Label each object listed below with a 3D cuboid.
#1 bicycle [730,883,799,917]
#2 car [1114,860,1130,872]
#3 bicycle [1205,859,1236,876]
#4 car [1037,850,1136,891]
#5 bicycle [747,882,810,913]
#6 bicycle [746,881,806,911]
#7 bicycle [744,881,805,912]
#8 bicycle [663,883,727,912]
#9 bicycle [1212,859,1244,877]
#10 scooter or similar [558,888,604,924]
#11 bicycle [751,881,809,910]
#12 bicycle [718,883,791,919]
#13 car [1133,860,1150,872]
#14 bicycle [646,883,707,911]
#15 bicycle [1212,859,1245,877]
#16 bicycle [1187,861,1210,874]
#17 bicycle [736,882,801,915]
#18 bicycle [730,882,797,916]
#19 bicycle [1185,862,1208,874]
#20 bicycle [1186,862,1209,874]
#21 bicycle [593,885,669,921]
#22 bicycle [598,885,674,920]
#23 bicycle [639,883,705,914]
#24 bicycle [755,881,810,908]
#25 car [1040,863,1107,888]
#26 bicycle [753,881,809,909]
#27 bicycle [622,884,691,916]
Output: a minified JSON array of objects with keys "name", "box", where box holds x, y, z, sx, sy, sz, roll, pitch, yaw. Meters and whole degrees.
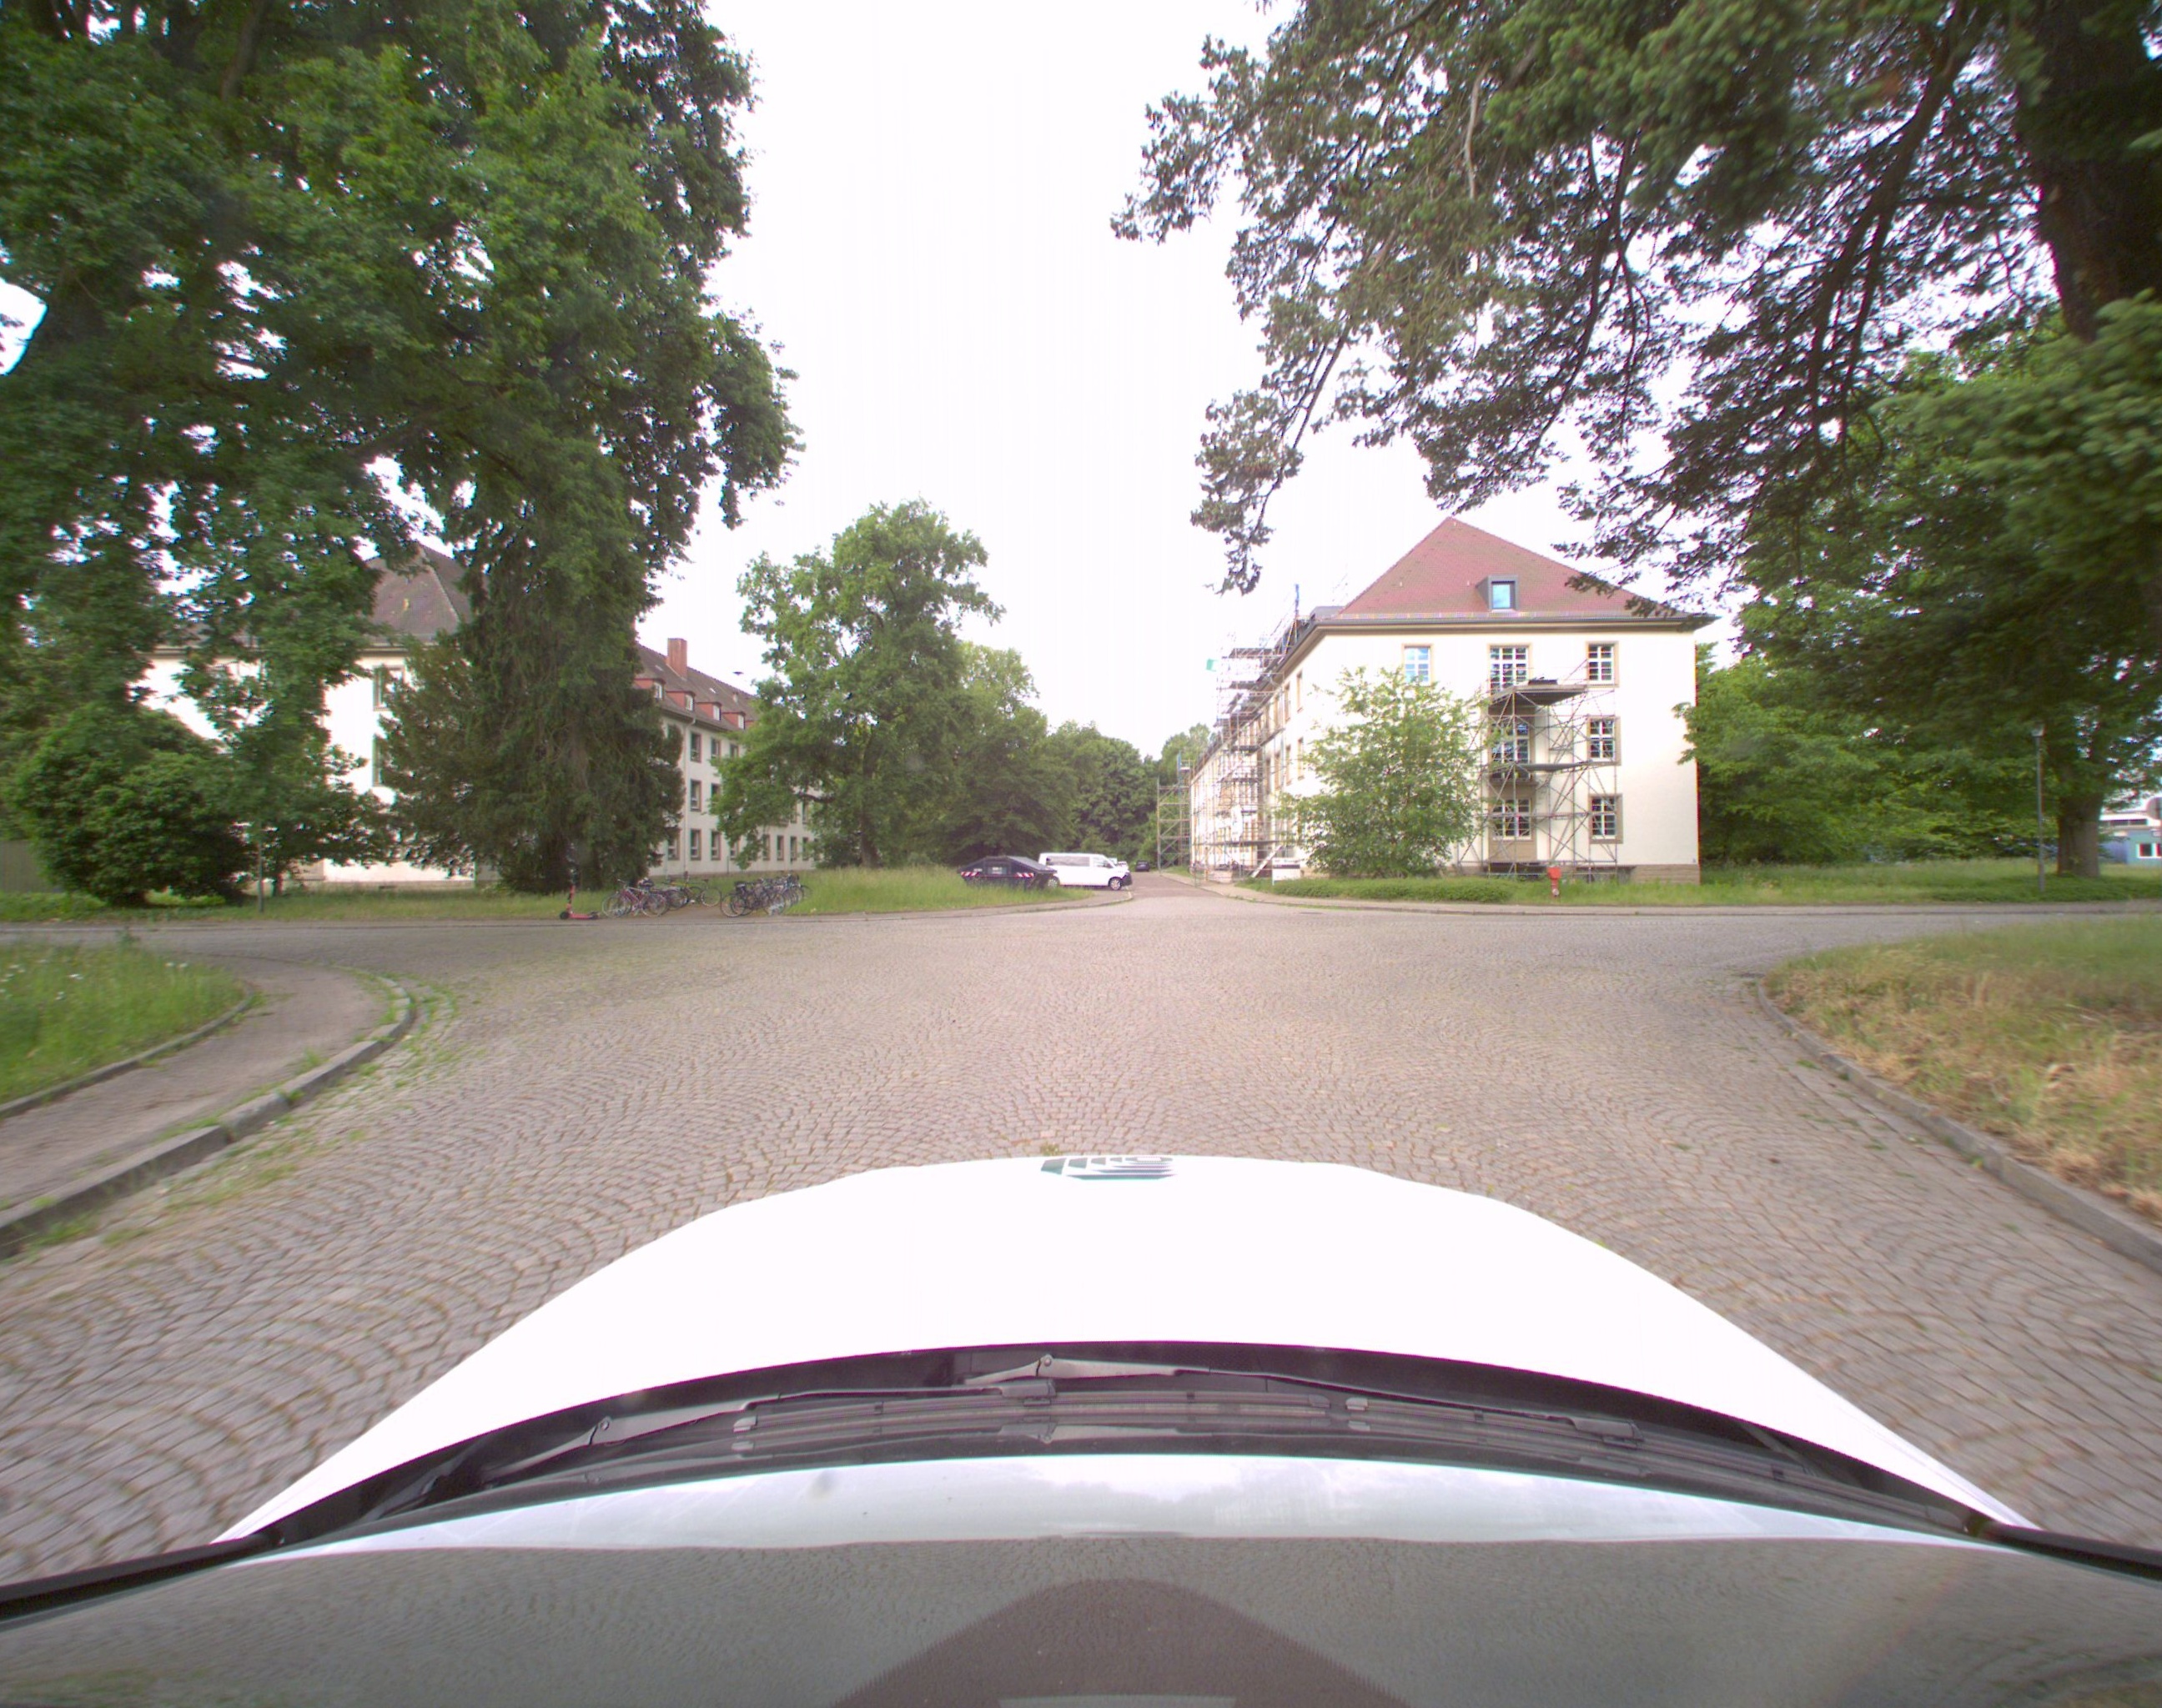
[{"name":"bicycle","box":[-9.709,1.399,25.030,1.964,0.989,0.622,-1,-1,-21]},{"name":"car","box":[5.519,1.637,110.373,2.111,1.522,4.001,-1,-1,1]},{"name":"bicycle","box":[10.472,1.044,61.391,2.230,1.254,0.778,-1,-1,4]},{"name":"car","box":[0.305,0.887,44.480,5.218,2.168,2.000,-1,-1,0]},{"name":"bicycle","box":[-10.208,1.455,27.521,1.964,0.989,0.622,-1,-1,-21]},{"name":"bicycle","box":[-10.775,1.489,28.849,1.964,0.989,0.622,-1,-1,-21]},{"name":"bicycle","box":[-10.622,1.476,28.261,1.964,0.989,0.622,-1,-1,-21]},{"name":"bicycle","box":[-13.897,1.559,29.363,1.956,0.989,0.625,-1,-1,-9]},{"name":"bicycle","box":[10.634,0.997,59.040,2.230,1.254,0.778,-1,-1,4]},{"name":"scooter or similar","box":[-14.727,1.517,23.985,1.337,1.038,0.455,-1,-1,23]},{"name":"bicycle","box":[-11.065,1.516,29.985,1.964,0.989,0.622,-1,-1,-21]},{"name":"bicycle","box":[-9.762,1.389,24.407,1.963,0.989,0.623,-1,-1,-19]},{"name":"car","box":[8.198,1.590,110.586,1.944,1.522,4.000,-1,-1,1]},{"name":"bicycle","box":[-15.296,1.611,30.835,1.961,0.989,0.624,-1,-1,-15]},{"name":"bicycle","box":[10.341,0.968,57.135,2.230,1.254,0.778,-1,-1,4]},{"name":"bicycle","box":[11.671,1.381,80.980,2.230,1.254,0.627,-1,-1,4]},{"name":"bicycle","box":[-10.193,1.438,26.644,1.964,0.989,0.622,-1,-1,-21]},{"name":"bicycle","box":[-10.121,1.425,26.015,1.964,0.989,0.622,-1,-1,-21]},{"name":"bicycle","box":[11.772,1.415,82.923,2.230,1.254,0.635,-1,-1,4]},{"name":"bicycle","box":[11.729,1.400,82.079,2.230,1.254,0.699,-1,-1,4]},{"name":"bicycle","box":[-13.684,1.471,24.798,1.967,0.989,0.622,-1,-1,-25]},{"name":"bicycle","box":[-13.792,1.482,25.292,1.964,0.989,0.622,-1,-1,-21]},{"name":"bicycle","box":[-14.223,1.547,28.364,1.956,0.989,0.625,-1,-1,-9]},{"name":"bicycle","box":[-11.461,1.547,31.289,1.964,0.989,0.622,-1,-1,-21]},{"name":"car","box":[-0.436,1.235,47.094,3.777,1.395,1.999,-1,-1,-1]},{"name":"bicycle","box":[-11.238,1.530,30.560,1.964,0.989,0.622,-1,-1,-21]},{"name":"bicycle","box":[-14.050,1.519,27.010,1.967,0.989,0.622,-1,-1,-25]}]
